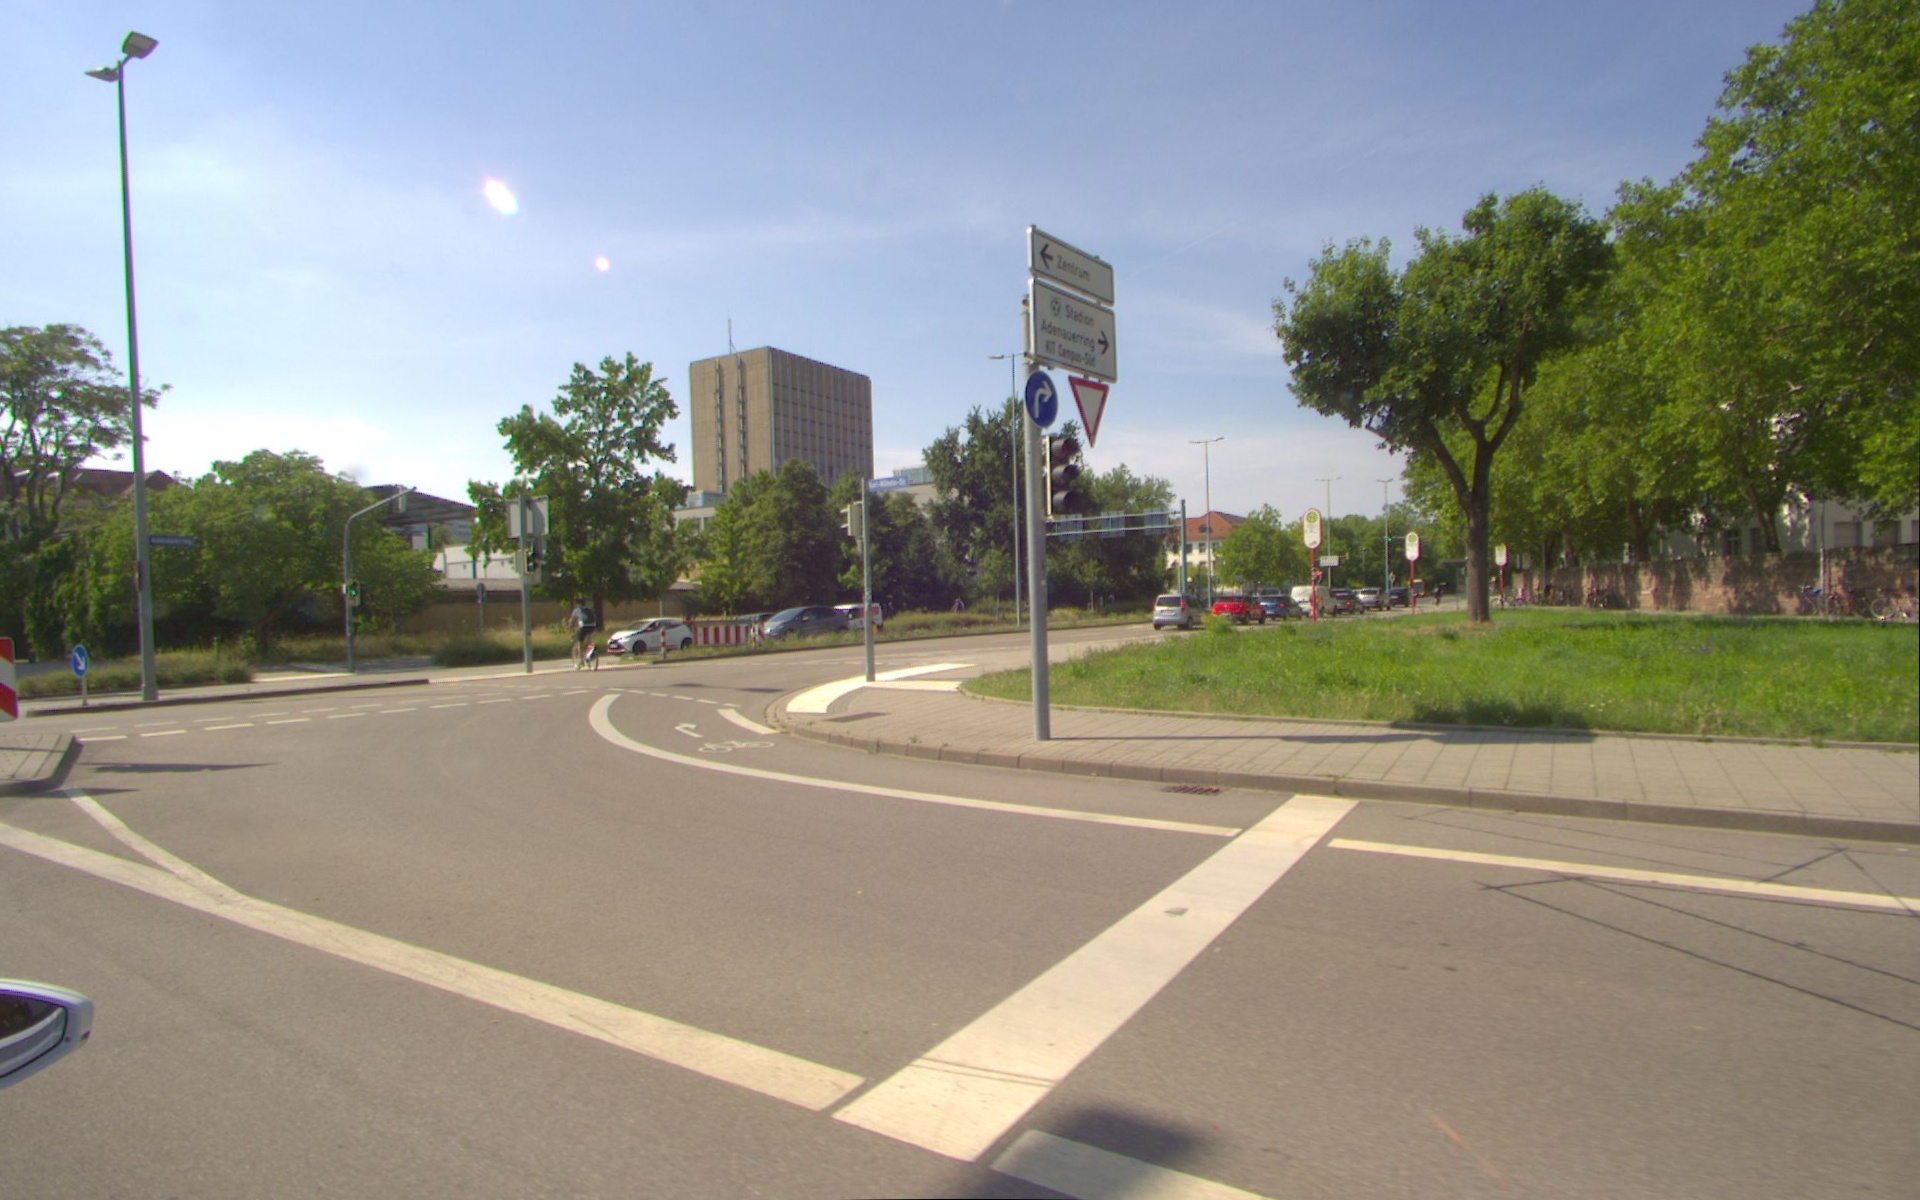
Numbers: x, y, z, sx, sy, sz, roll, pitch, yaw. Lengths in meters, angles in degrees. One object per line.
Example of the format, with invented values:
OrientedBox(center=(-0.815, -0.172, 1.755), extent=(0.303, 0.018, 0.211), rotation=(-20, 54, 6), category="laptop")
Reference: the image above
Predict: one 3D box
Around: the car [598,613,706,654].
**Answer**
OrientedBox(center=(-12.706, 1.354, 41.543), extent=(1.971, 1.483, 3.978), rotation=(-1, 1, 32), category="car")

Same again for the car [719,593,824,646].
OrientedBox(center=(-7.910, 0.805, 42.244), extent=(1.976, 2.040, 3.971), rotation=(-3, -1, 37), category="car")

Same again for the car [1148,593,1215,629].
OrientedBox(center=(10.180, 0.480, 45.782), extent=(1.727, 1.528, 3.977), rotation=(-1, 1, 32), category="car")

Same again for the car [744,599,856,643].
OrientedBox(center=(-5.920, 0.763, 37.453), extent=(1.619, 1.424, 4.080), rotation=(-3, -1, 37), category="car")

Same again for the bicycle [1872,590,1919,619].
OrientedBox(center=(29.361, 0.141, 31.437), extent=(0.365, 0.867, 1.307), rotation=(-1, 1, 7), category="bicycle")

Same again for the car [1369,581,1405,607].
OrientedBox(center=(34.675, -0.504, 81.217), extent=(1.973, 2.040, 3.975), rotation=(-1, 1, 34), category="car")

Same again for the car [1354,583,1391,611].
OrientedBox(center=(31.364, -0.245, 76.095), extent=(1.972, 2.040, 3.977), rotation=(-1, 1, 32), category="car")

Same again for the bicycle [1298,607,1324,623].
OrientedBox(center=(18.891, 0.819, 53.914), extent=(0.554, 0.803, 1.878), rotation=(1, 2, 44), category="bicycle")

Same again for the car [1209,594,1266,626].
OrientedBox(center=(14.212, 0.491, 51.203), extent=(1.727, 1.528, 3.977), rotation=(-1, 1, 32), category="car")

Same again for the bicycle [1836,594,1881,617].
OrientedBox(center=(29.582, 0.175, 32.979), extent=(0.334, 0.738, 1.364), rotation=(-1, 1, 5), category="bicycle")

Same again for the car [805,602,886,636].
OrientedBox(center=(-5.839, 0.953, 51.418), extent=(1.883, 1.590, 4.300), rotation=(-1, 1, 32), category="car")

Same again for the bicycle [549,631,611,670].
OrientedBox(center=(-9.727, 1.269, 25.576), extent=(0.668, 0.928, 2.148), rotation=(-3, 1, -44), category="bicycle")

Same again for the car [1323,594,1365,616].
OrientedBox(center=(26.375, 0.313, 68.661), extent=(1.729, 1.357, 3.973), rotation=(-1, 1, 36), category="car")

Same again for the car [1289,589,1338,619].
OrientedBox(center=(22.175, 0.240, 62.689), extent=(1.729, 1.781, 4.402), rotation=(-1, 1, 36), category="car")

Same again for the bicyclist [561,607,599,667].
OrientedBox(center=(-9.769, 0.953, 25.730), extent=(0.491, 1.489, 1.132), rotation=(0, -2, -44), category="bicyclist")

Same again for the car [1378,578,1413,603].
OrientedBox(center=(36.567, -0.802, 83.983), extent=(1.973, 2.040, 3.975), rotation=(-1, 1, 34), category="car")

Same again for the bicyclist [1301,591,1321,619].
OrientedBox(center=(18.885, 0.258, 53.923), extent=(0.558, 1.494, 1.158), rotation=(0, 2, 44), category="bicyclist")

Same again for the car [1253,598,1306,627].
OrientedBox(center=(18.305, 0.693, 57.322), extent=(1.729, 1.493, 3.973), rotation=(-1, 1, 36), category="car")

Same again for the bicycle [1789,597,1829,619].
OrientedBox(center=(29.467, 0.275, 34.773), extent=(0.334, 0.738, 1.364), rotation=(-1, 1, 5), category="bicycle")
